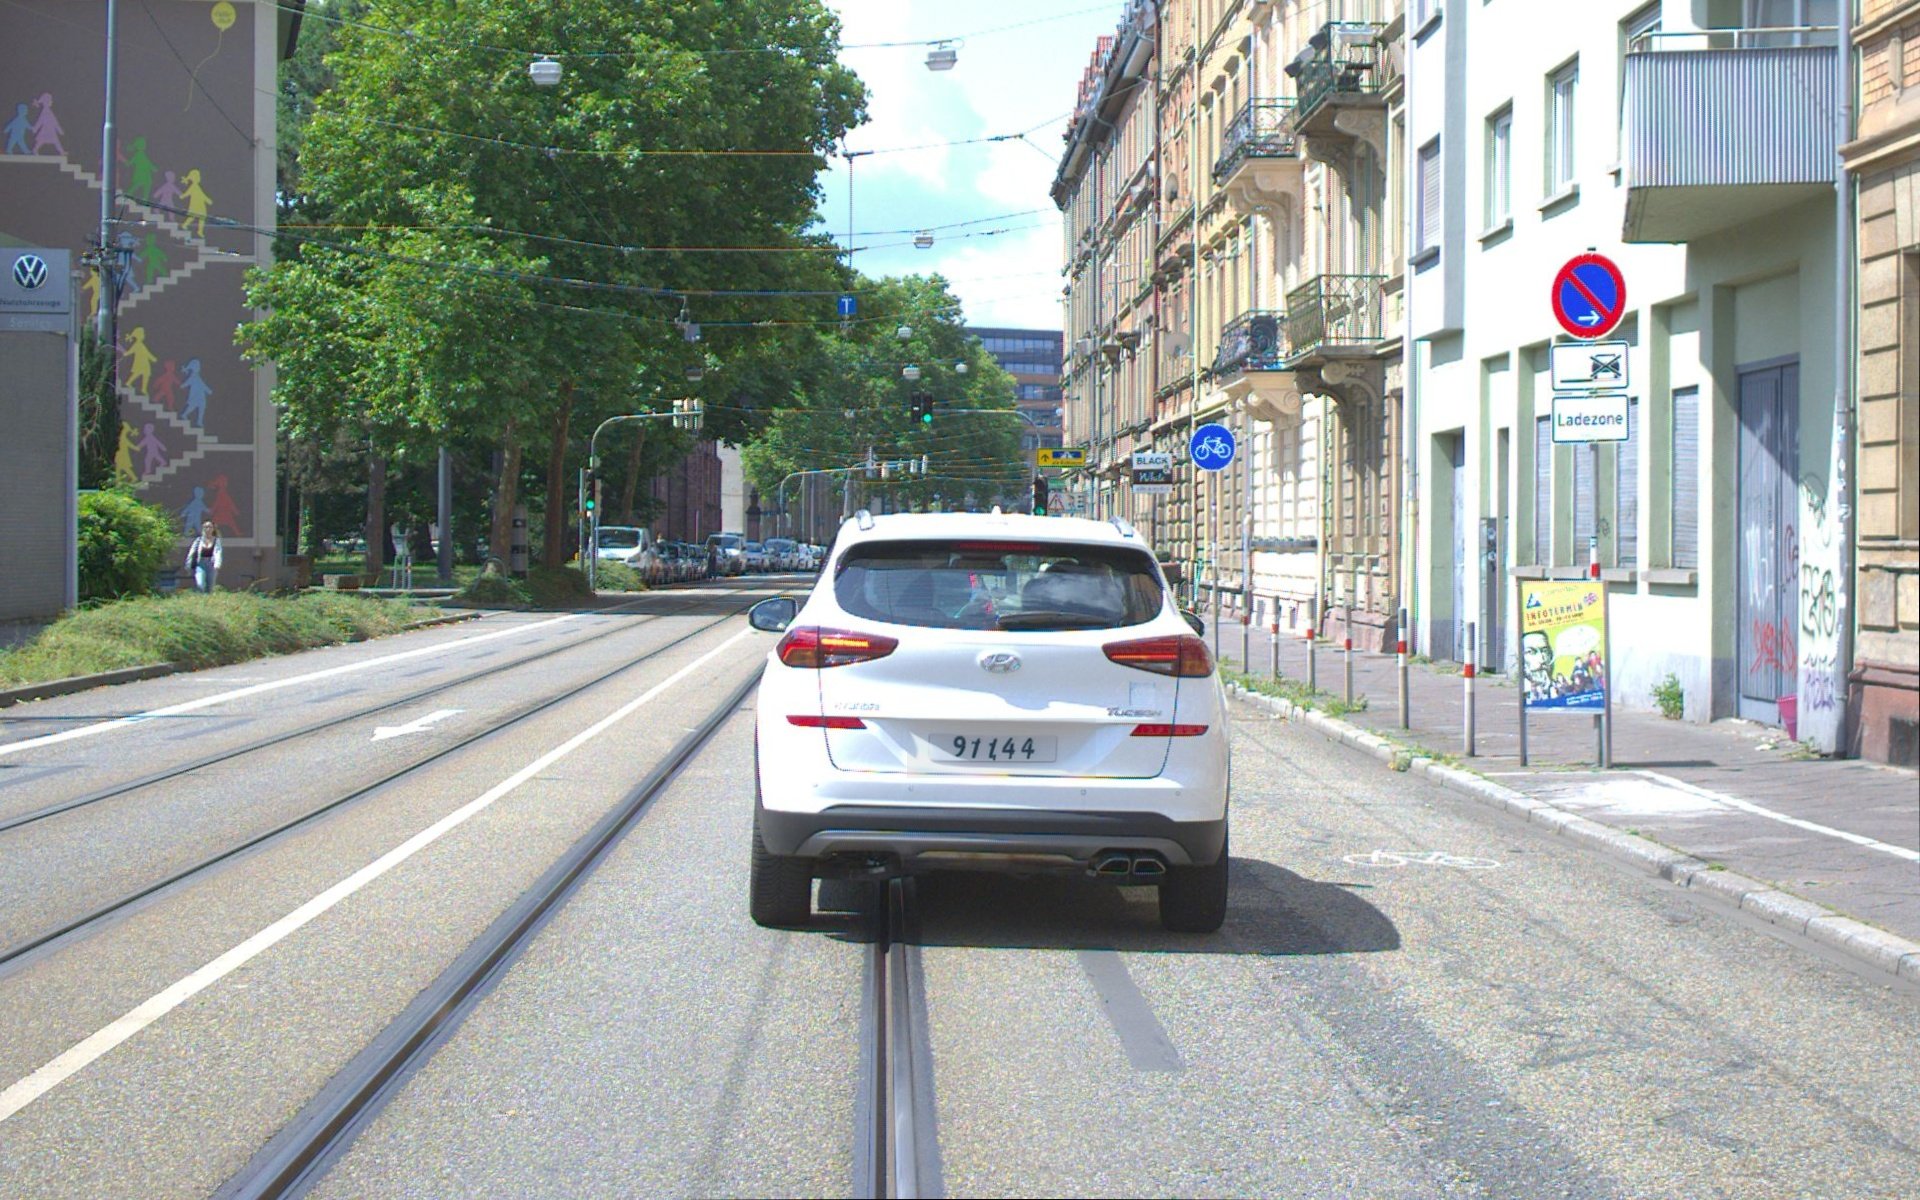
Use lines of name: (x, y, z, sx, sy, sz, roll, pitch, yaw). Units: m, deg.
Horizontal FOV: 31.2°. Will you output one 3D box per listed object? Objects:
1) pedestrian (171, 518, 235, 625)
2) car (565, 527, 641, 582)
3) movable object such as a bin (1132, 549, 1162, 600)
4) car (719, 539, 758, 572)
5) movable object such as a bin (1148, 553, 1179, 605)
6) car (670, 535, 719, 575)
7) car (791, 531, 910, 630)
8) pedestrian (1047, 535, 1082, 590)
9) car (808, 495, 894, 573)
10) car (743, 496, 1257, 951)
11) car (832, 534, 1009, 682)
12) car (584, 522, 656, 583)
pedestrian: (-13.335, -0.509, 60.587, 0.880, 1.859, 1.081, -1, 1, -1)
car: (-10.944, -1.407, 105.706, 1.950, 1.626, 4.576, 1, 1, -1)
movable object such as a bin: (4.205, -0.583, 77.443, 0.612, 1.139, 0.638, 1, 1, -1)
car: (-11.320, -2.299, 175.891, 1.950, 1.626, 4.001, 1, 1, -3)
movable object such as a bin: (4.497, -0.468, 76.018, 0.612, 1.139, 0.638, 1, 1, -1)
car: (-11.149, -1.924, 144.637, 1.950, 1.626, 4.001, 1, 1, -3)
car: (-1.713, -0.337, 54.724, 1.814, 1.519, 3.956, 0, 1, -1)
pedestrian: (2.999, -1.073, 98.582, 0.938, 1.567, 1.050, 1, 1, -1)
car: (-2.363, -1.442, 74.947, 1.814, 1.656, 4.085, 0, 1, -1)
car: (0.020, 0.415, 14.700, 1.852, 1.628, 4.181, 1, 1, -4)
car: (-0.409, 0.044, 37.365, 1.814, 1.519, 4.085, 0, 1, 0)
car: (-11.026, -1.556, 111.699, 1.950, 1.888, 4.566, 1, 1, -1)
